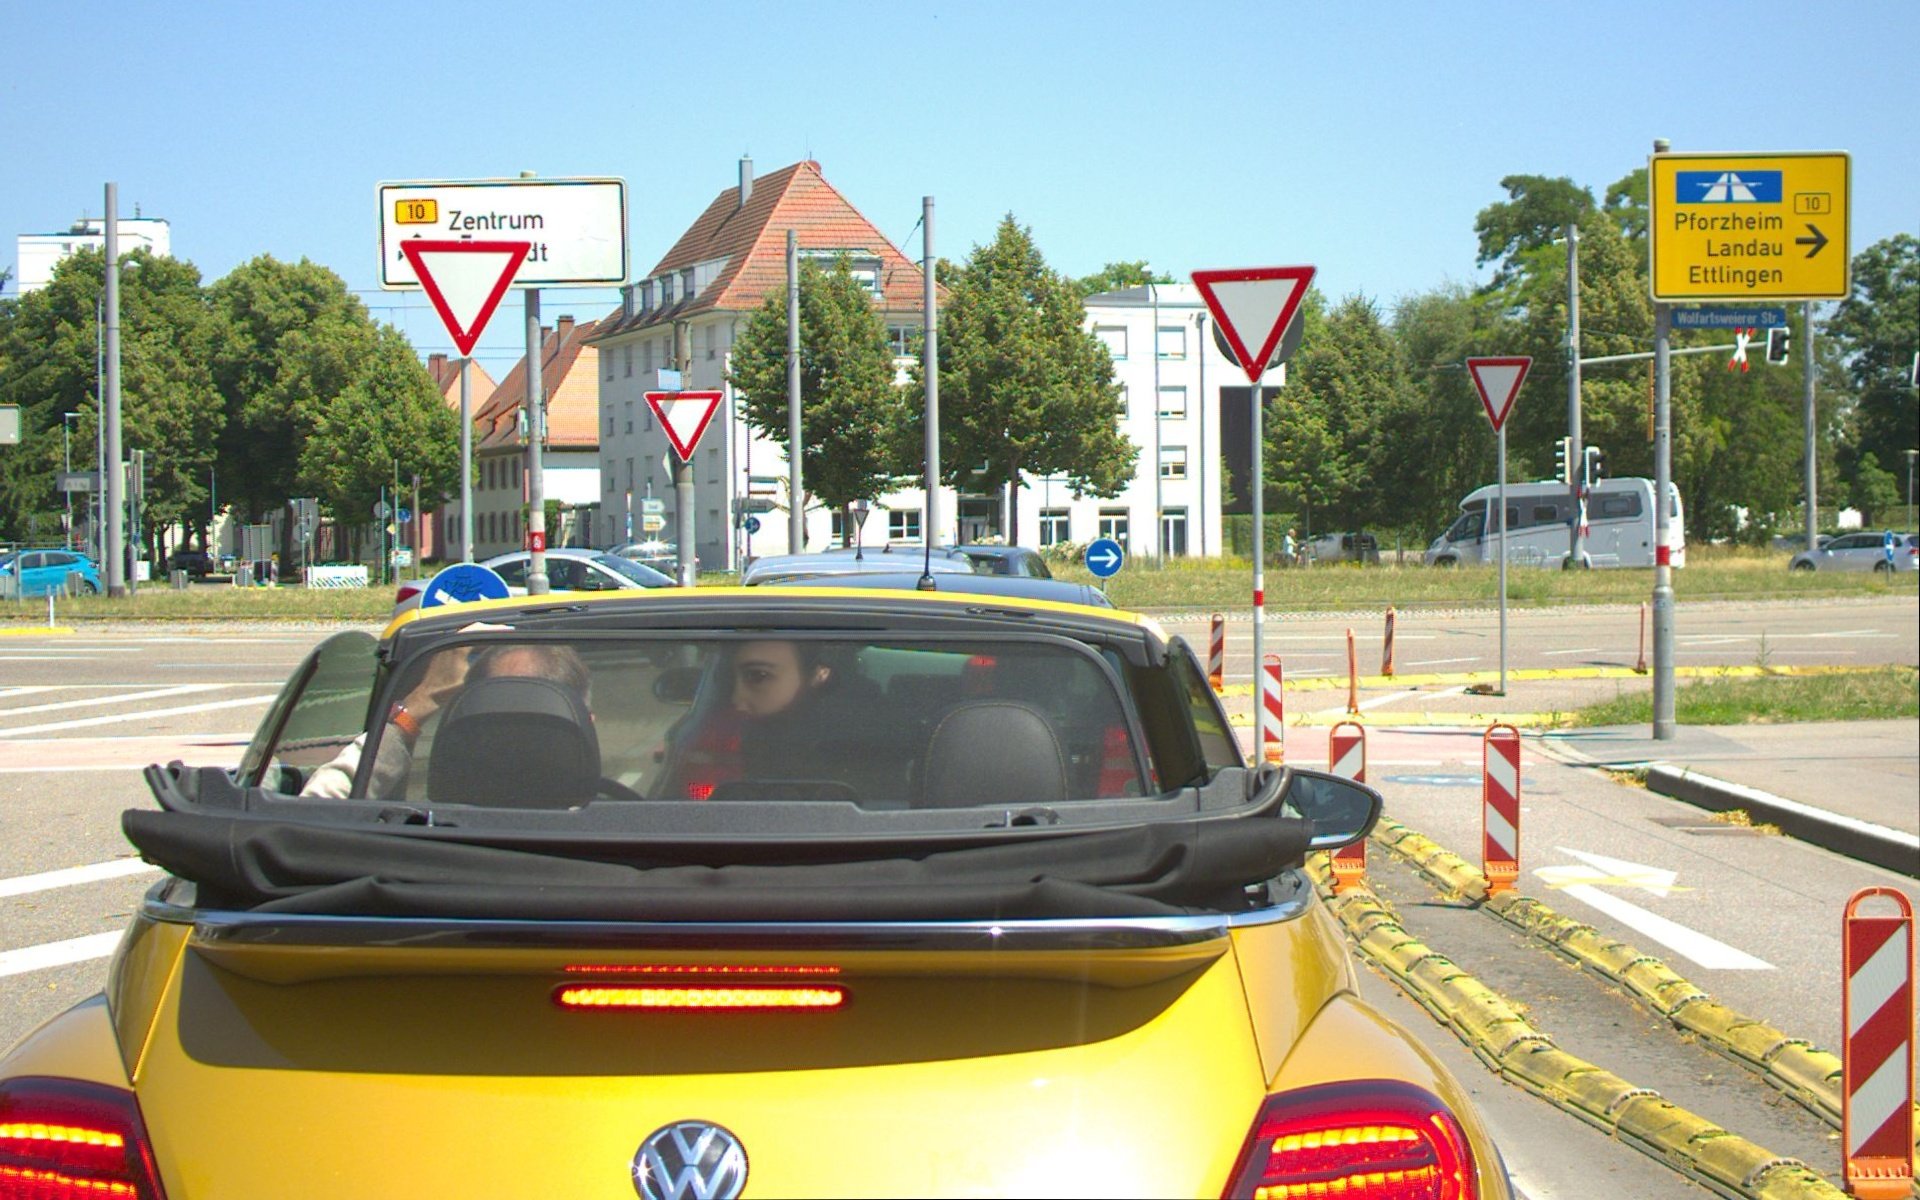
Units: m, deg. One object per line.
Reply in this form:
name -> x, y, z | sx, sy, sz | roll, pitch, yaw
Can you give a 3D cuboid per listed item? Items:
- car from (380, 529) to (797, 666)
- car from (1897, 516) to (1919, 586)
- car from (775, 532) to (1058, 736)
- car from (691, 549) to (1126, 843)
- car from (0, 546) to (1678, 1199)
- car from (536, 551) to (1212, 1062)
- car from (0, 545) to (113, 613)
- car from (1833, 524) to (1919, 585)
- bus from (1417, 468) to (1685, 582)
car -> -4.317, -0.038, 40.200 | 4.408, 1.522, 1.999 | -1, 1, 14
car -> 25.214, -1.190, 84.261 | 1.842, 1.730, 4.445 | 1, 1, -26
car -> -0.347, 0.204, 27.687 | 2.065, 1.476, 4.543 | -1, 1, -1
car -> -0.271, 0.438, 18.582 | 2.065, 1.377, 4.258 | 1, 1, -1
car -> -0.299, 0.678, 5.082 | 1.765, 1.476, 4.258 | 1, 1, -1
car -> -0.260, 0.540, 11.636 | 1.851, 1.361, 4.258 | -1, 1, -1
car -> -24.631, -0.547, 90.696 | 3.989, 1.766, 1.875 | 0, 1, -42
car -> 27.359, -1.299, 98.127 | 1.843, 1.730, 4.442 | 0, 1, -42
bus -> 16.945, -2.165, 98.779 | 7.267, 3.161, 2.257 | 1, 1, 34
